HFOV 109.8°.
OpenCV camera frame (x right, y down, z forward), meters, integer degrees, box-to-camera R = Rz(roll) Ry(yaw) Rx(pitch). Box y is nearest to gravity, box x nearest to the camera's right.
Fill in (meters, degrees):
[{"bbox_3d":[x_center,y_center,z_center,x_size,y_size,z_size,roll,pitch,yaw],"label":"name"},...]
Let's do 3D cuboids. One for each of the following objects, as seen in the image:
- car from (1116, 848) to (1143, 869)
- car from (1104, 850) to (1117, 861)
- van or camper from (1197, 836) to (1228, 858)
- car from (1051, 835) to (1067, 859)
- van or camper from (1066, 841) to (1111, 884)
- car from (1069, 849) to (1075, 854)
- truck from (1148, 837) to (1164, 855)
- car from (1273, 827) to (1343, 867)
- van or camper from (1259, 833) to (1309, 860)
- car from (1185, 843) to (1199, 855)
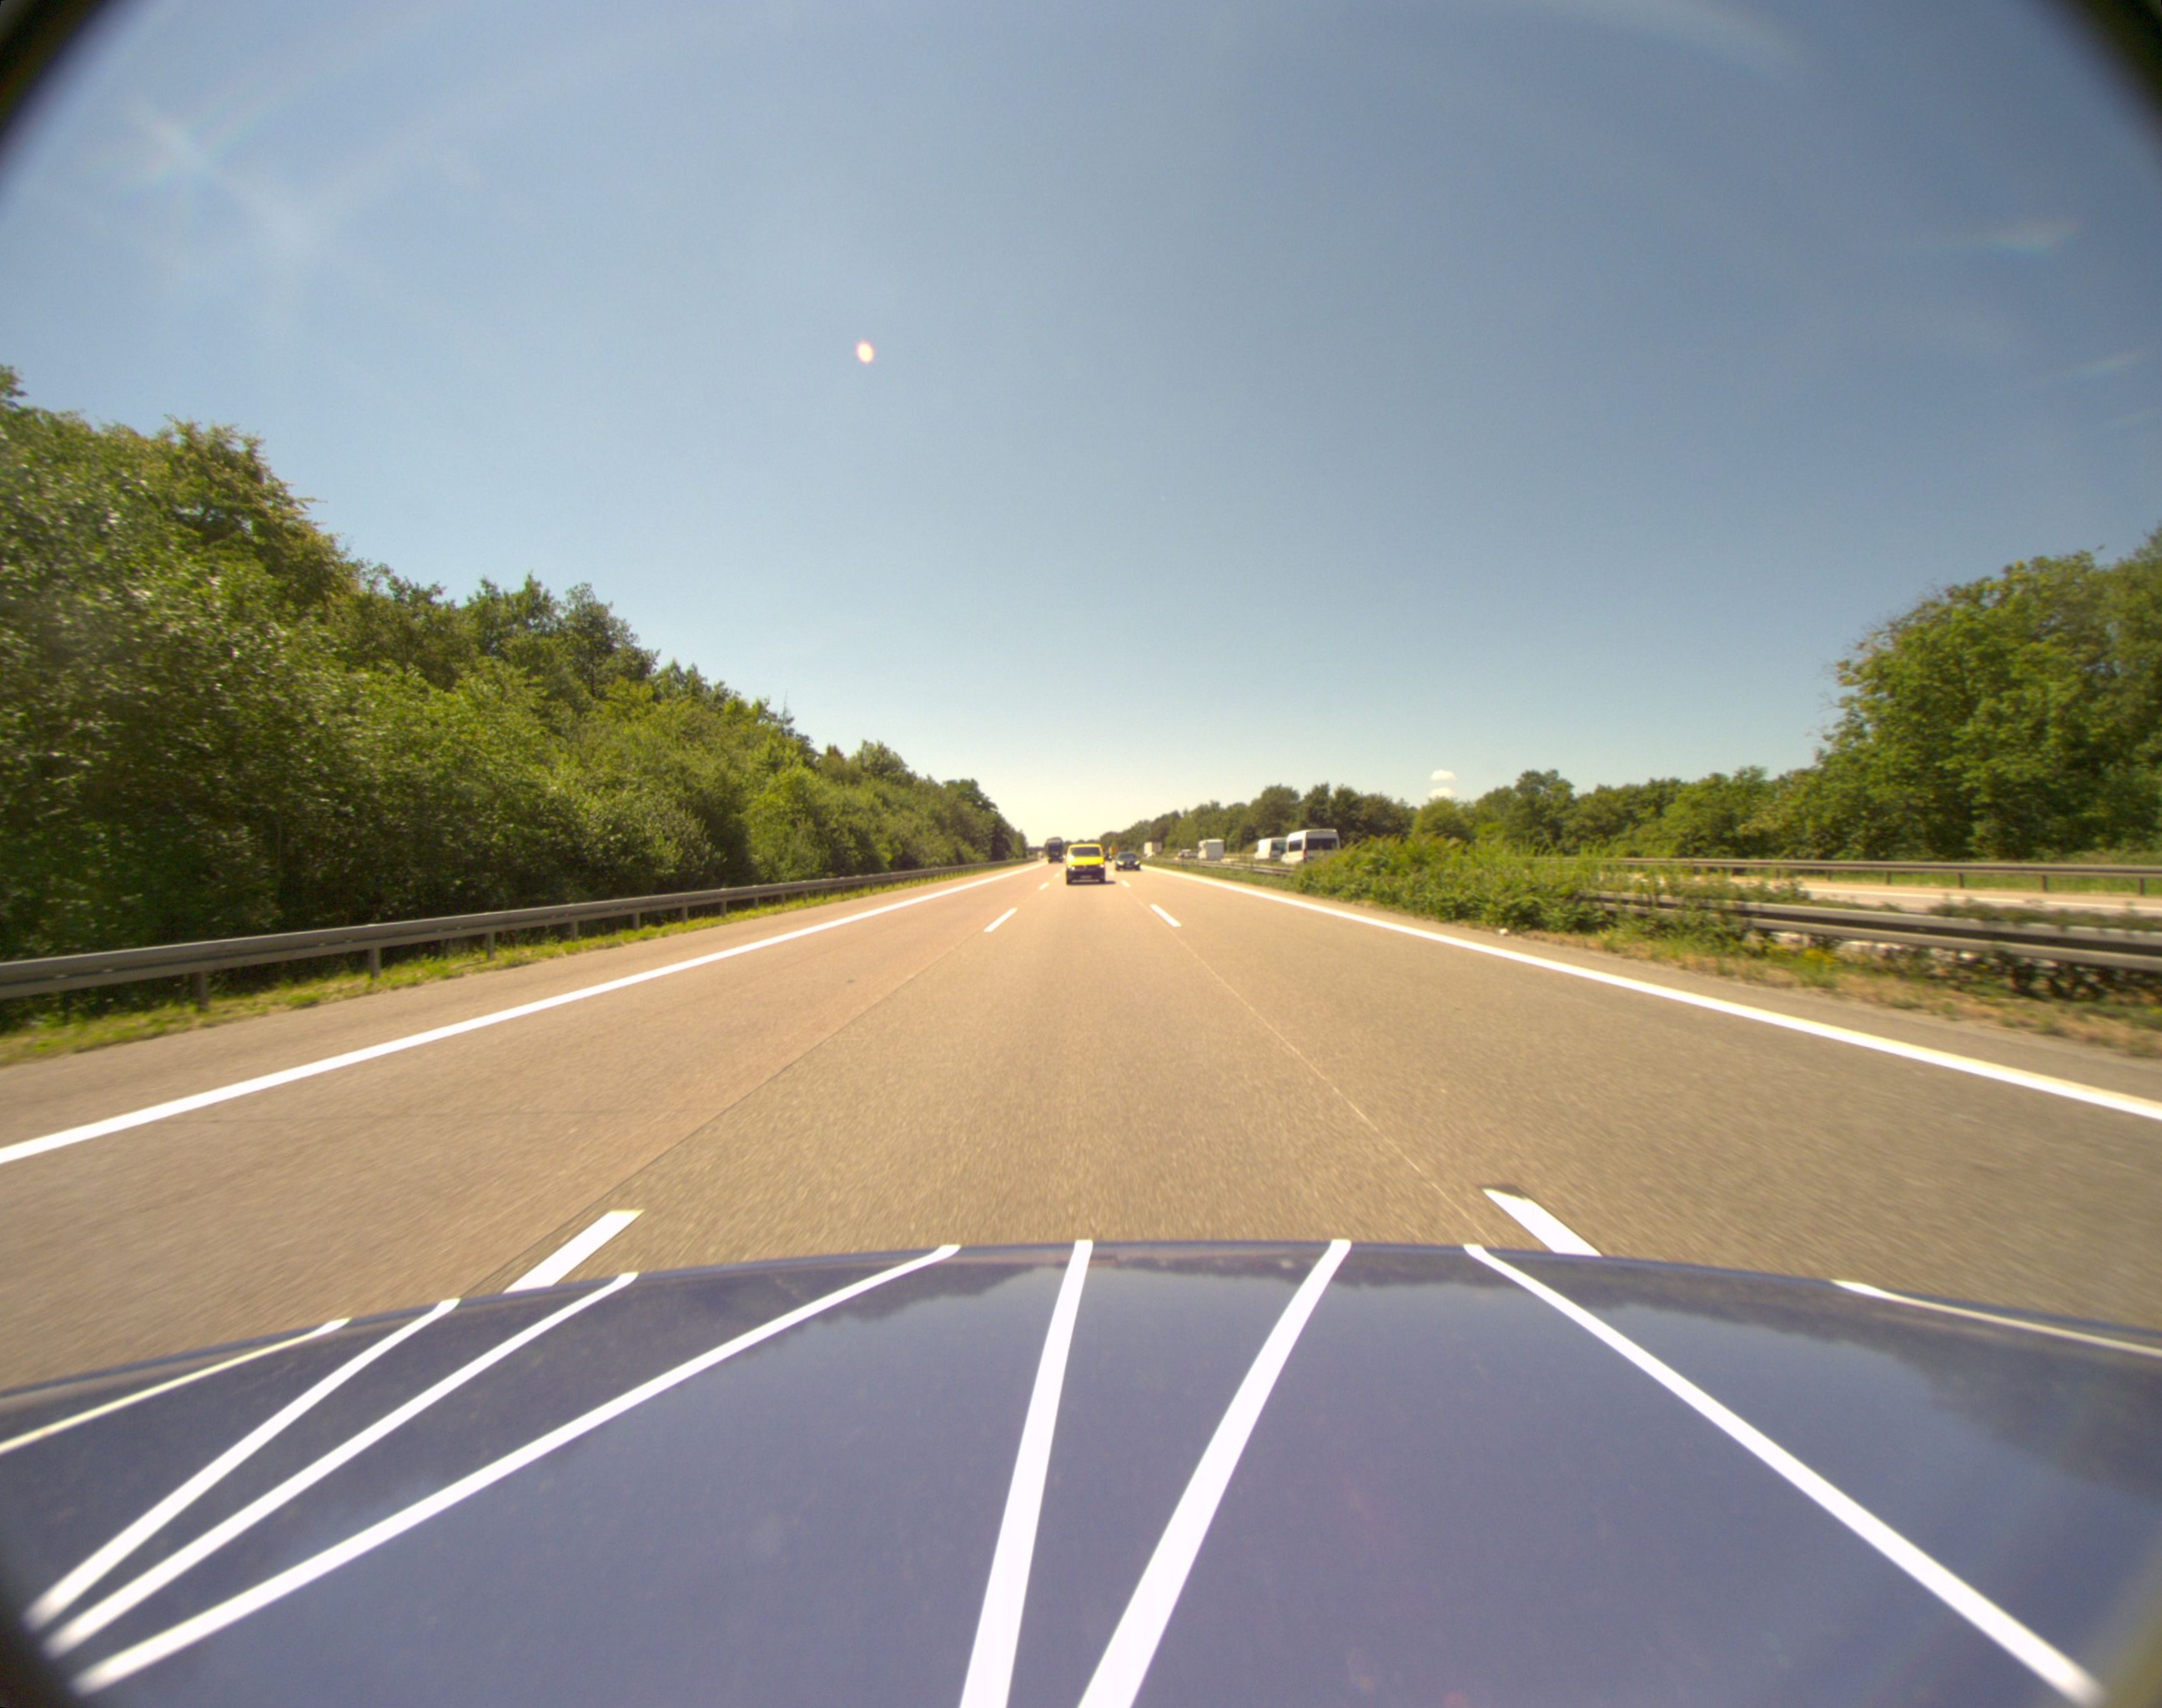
[{"bbox_3d":[3.785,0.363,59.936,1.894,1.541,4.039,1,1,1],"label":"car"},{"bbox_3d":[4.521,0.212,118.017,1.894,1.541,4.039,1,1,1],"label":"car"},{"bbox_3d":[16.926,-0.954,98.324,2.950,2.675,6.746,-1,1,1],"label":"van or camper"},{"bbox_3d":[-3.735,-1.233,130.283,2.298,3.886,9.268,1,1,1],"label":"car"},{"bbox_3d":[0.448,0.374,38.359,2.063,1.992,5.884,-1,1,2],"label":"van or camper"},{"bbox_3d":[-2.937,-0.668,247.378,1.894,1.541,4.039,1,1,1],"label":"car"},{"bbox_3d":[19.430,-2.005,196.237,3.118,4.502,8.586,-1,1,0],"label":"truck"},{"bbox_3d":[13.122,-0.407,44.355,2.237,2.174,6.385,-1,1,1],"label":"car"},{"bbox_3d":[17.637,-0.648,66.505,2.612,2.174,6.746,-1,1,1],"label":"van or camper"},{"bbox_3d":[20.462,-0.895,139.865,1.998,2.002,3.999,-2,1,0],"label":"car"}]
